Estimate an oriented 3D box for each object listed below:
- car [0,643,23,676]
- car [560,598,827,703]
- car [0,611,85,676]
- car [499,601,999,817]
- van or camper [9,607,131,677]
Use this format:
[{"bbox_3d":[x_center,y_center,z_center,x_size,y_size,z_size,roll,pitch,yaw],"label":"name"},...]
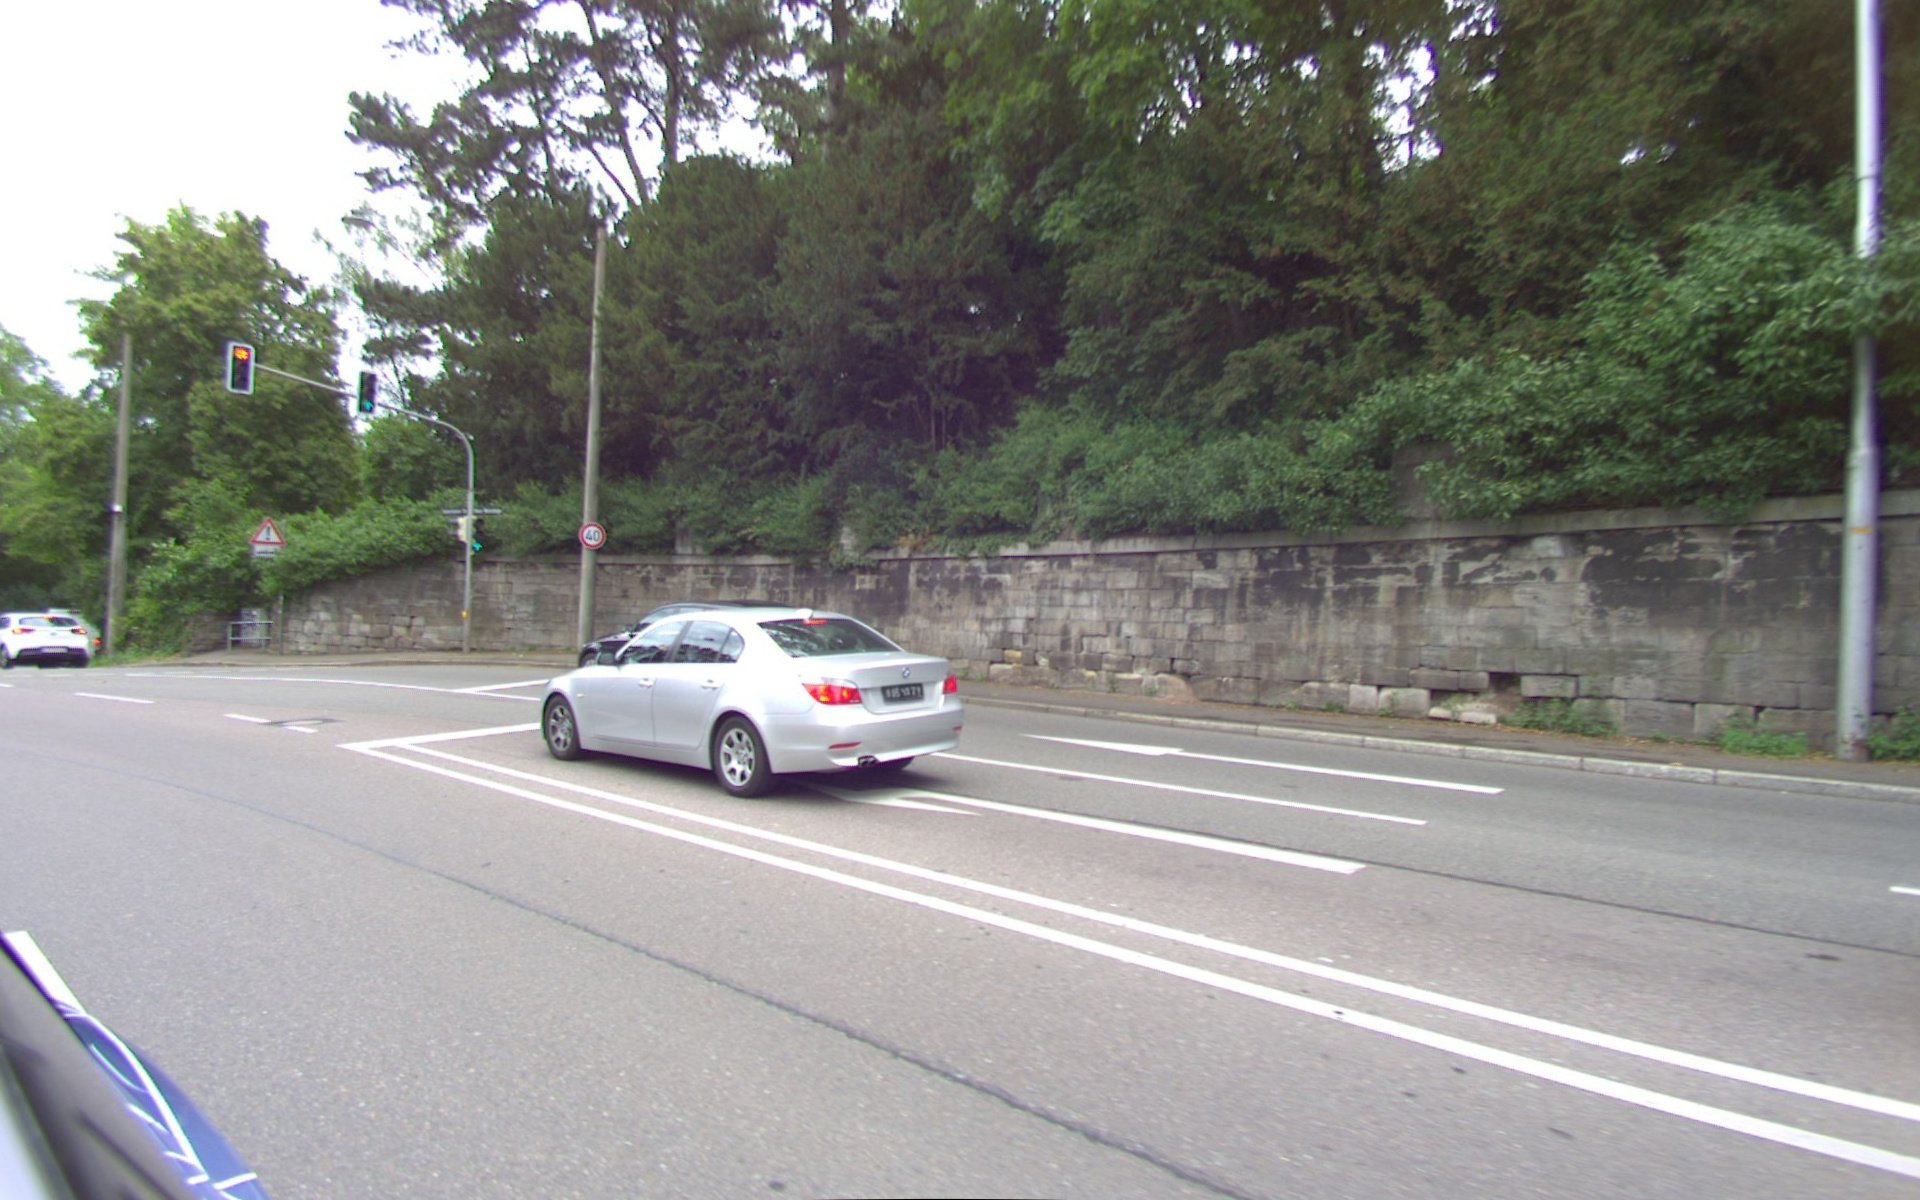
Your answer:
[{"bbox_3d":[-40.415,2.446,41.056,1.938,1.324,3.860,-1,-3,-15],"label":"car"},{"bbox_3d":[-4.222,0.749,15.871,4.035,1.463,1.720,-2,-1,31],"label":"car"},{"bbox_3d":[-25.127,1.118,26.755,4.093,1.568,1.626,-1,0,27],"label":"car"},{"bbox_3d":[-2.146,0.833,9.319,4.875,1.481,1.973,-2,-3,41],"label":"car"},{"bbox_3d":[-36.649,1.824,41.887,2.171,2.566,5.375,1,-6,-24],"label":"van or camper"}]
